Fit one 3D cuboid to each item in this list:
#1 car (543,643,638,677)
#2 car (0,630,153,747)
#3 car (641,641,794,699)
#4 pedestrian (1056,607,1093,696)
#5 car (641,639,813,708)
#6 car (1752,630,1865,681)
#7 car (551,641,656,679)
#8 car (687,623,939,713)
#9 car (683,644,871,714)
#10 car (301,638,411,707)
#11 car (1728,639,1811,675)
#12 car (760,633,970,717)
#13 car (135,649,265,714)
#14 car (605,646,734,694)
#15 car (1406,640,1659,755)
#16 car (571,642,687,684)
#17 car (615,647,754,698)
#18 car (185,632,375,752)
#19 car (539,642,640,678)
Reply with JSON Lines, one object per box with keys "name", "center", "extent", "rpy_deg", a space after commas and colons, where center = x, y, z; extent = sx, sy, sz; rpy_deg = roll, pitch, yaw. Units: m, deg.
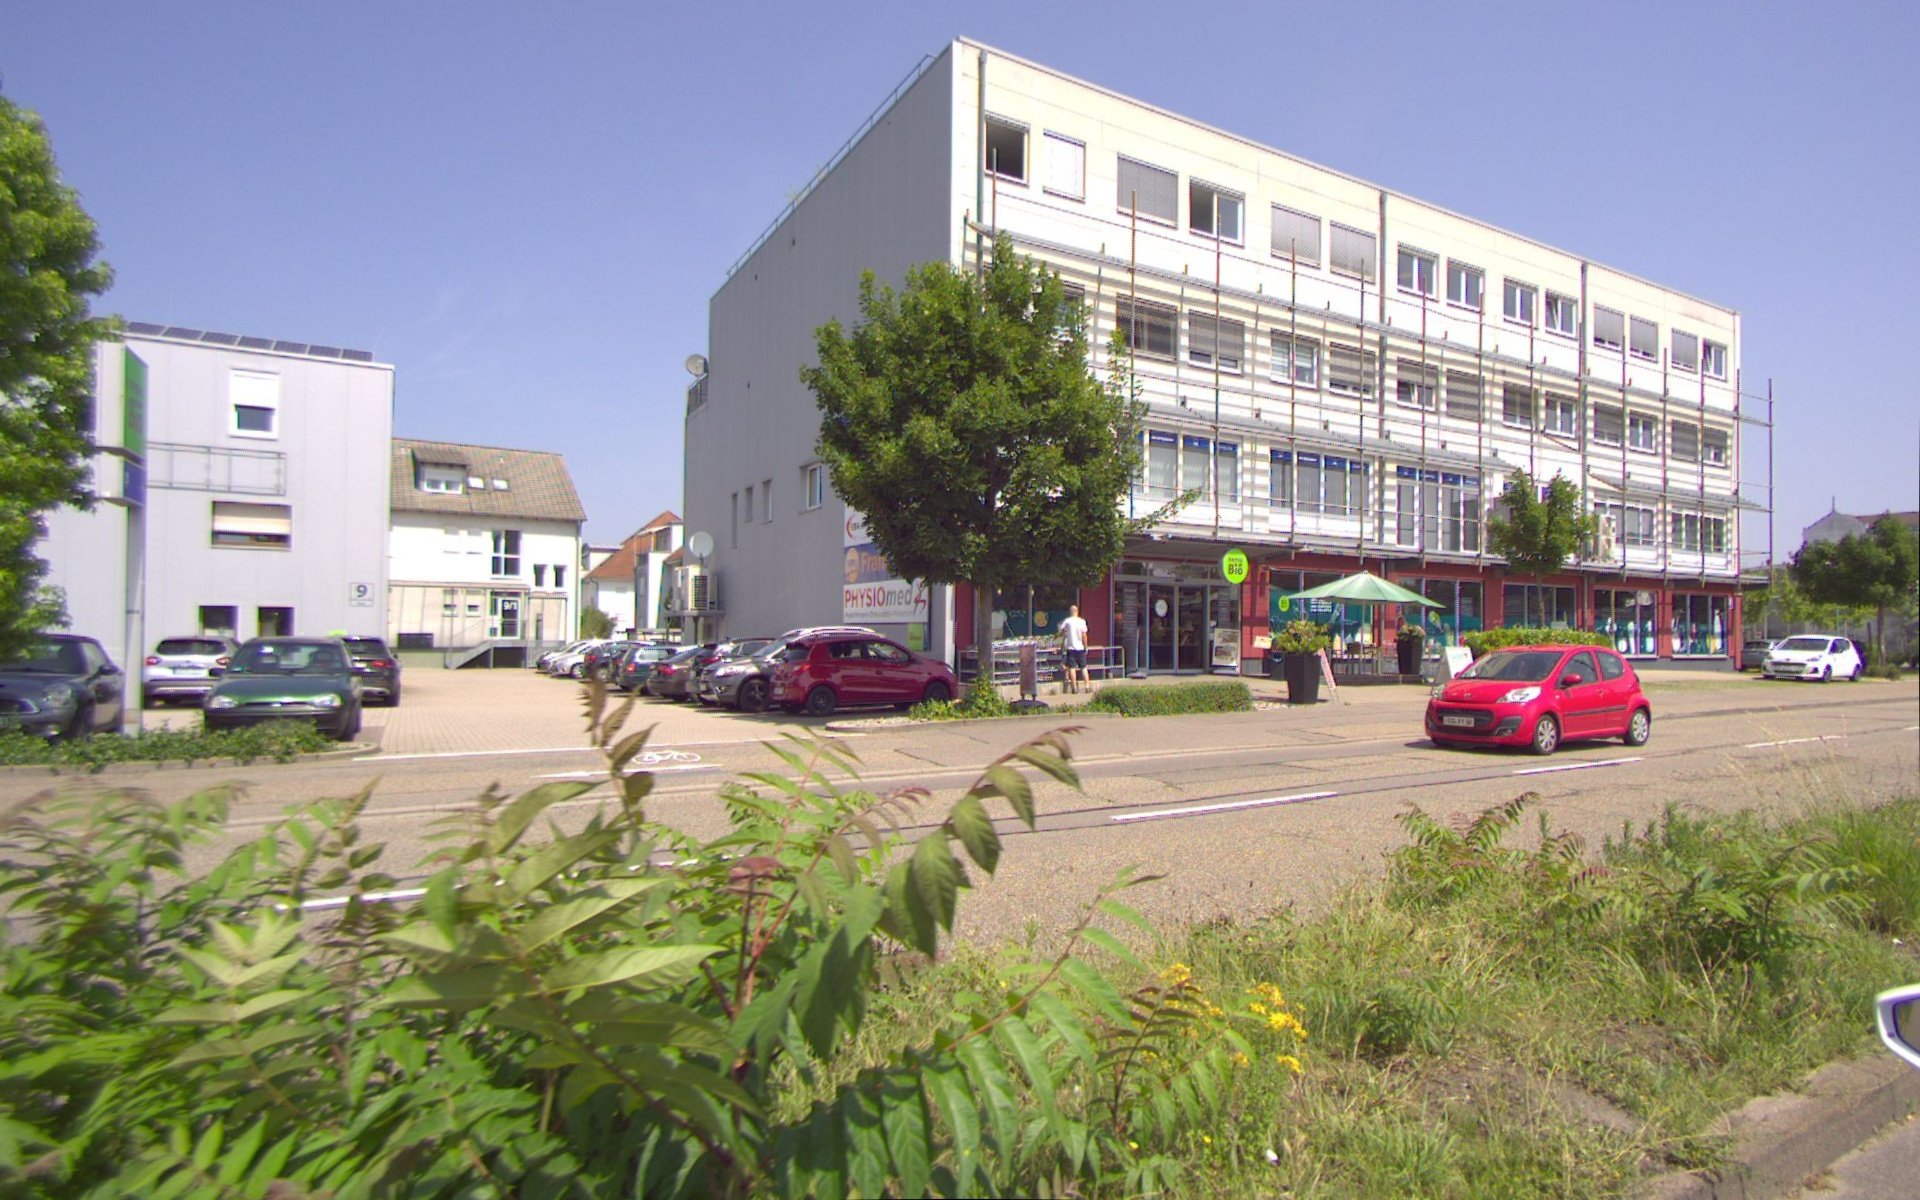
{"name": "car", "center": [-16.661, 2.682, 45.377], "extent": [3.940, 1.470, 1.727], "rpy_deg": [1, -2, -20]}
{"name": "car", "center": [-11.447, 1.032, 12.318], "extent": [1.838, 1.246, 3.821], "rpy_deg": [2, -3, -30]}
{"name": "car", "center": [-6.926, 1.974, 28.742], "extent": [3.953, 1.554, 1.691], "rpy_deg": [2, -4, -31]}
{"name": "pedestrian", "center": [2.472, 1.100, 21.649], "extent": [0.492, 1.891, 0.672], "rpy_deg": [1, -2, -30]}
{"name": "car", "center": [-5.968, 1.846, 25.834], "extent": [3.953, 1.661, 1.768], "rpy_deg": [2, -2, -30]}
{"name": "car", "center": [28.145, 1.844, 33.307], "extent": [3.997, 1.514, 1.670], "rpy_deg": [3, -2, -31]}
{"name": "car", "center": [-14.520, 2.430, 41.043], "extent": [3.940, 1.470, 1.727], "rpy_deg": [1, -2, -20]}
{"name": "car", "center": [-3.096, 1.441, 21.626], "extent": [5.107, 1.756, 1.751], "rpy_deg": [2, -4, -31]}
{"name": "car", "center": [-4.205, 1.790, 23.179], "extent": [3.952, 1.484, 1.732], "rpy_deg": [2, -4, -29]}
{"name": "car", "center": [-14.248, 1.637, 23.607], "extent": [1.750, 1.479, 3.809], "rpy_deg": [2, -3, -38]}
{"name": "car", "center": [38.282, 2.690, 47.474], "extent": [3.953, 1.567, 1.761], "rpy_deg": [4, -3, -29]}
{"name": "car", "center": [-1.824, 1.427, 19.549], "extent": [3.754, 1.486, 1.651], "rpy_deg": [2, -4, -31]}
{"name": "car", "center": [-17.177, 1.782, 22.880], "extent": [1.839, 1.302, 3.821], "rpy_deg": [2, -3, -30]}
{"name": "car", "center": [-9.500, 2.253, 32.793], "extent": [3.940, 1.470, 1.727], "rpy_deg": [1, -2, -20]}
{"name": "car", "center": [8.140, 1.329, 14.262], "extent": [3.410, 1.442, 1.624], "rpy_deg": [2, -4, -30]}
{"name": "car", "center": [-12.144, 2.296, 36.938], "extent": [3.940, 1.470, 1.727], "rpy_deg": [1, -2, -20]}
{"name": "car", "center": [-8.361, 2.167, 30.501], "extent": [3.940, 1.470, 1.727], "rpy_deg": [1, -2, -20]}
{"name": "car", "center": [-9.026, 1.166, 13.621], "extent": [1.759, 1.382, 3.643], "rpy_deg": [1, -3, -29]}
{"name": "car", "center": [-15.767, 2.543, 42.900], "extent": [3.940, 1.470, 1.727], "rpy_deg": [1, -2, -20]}
